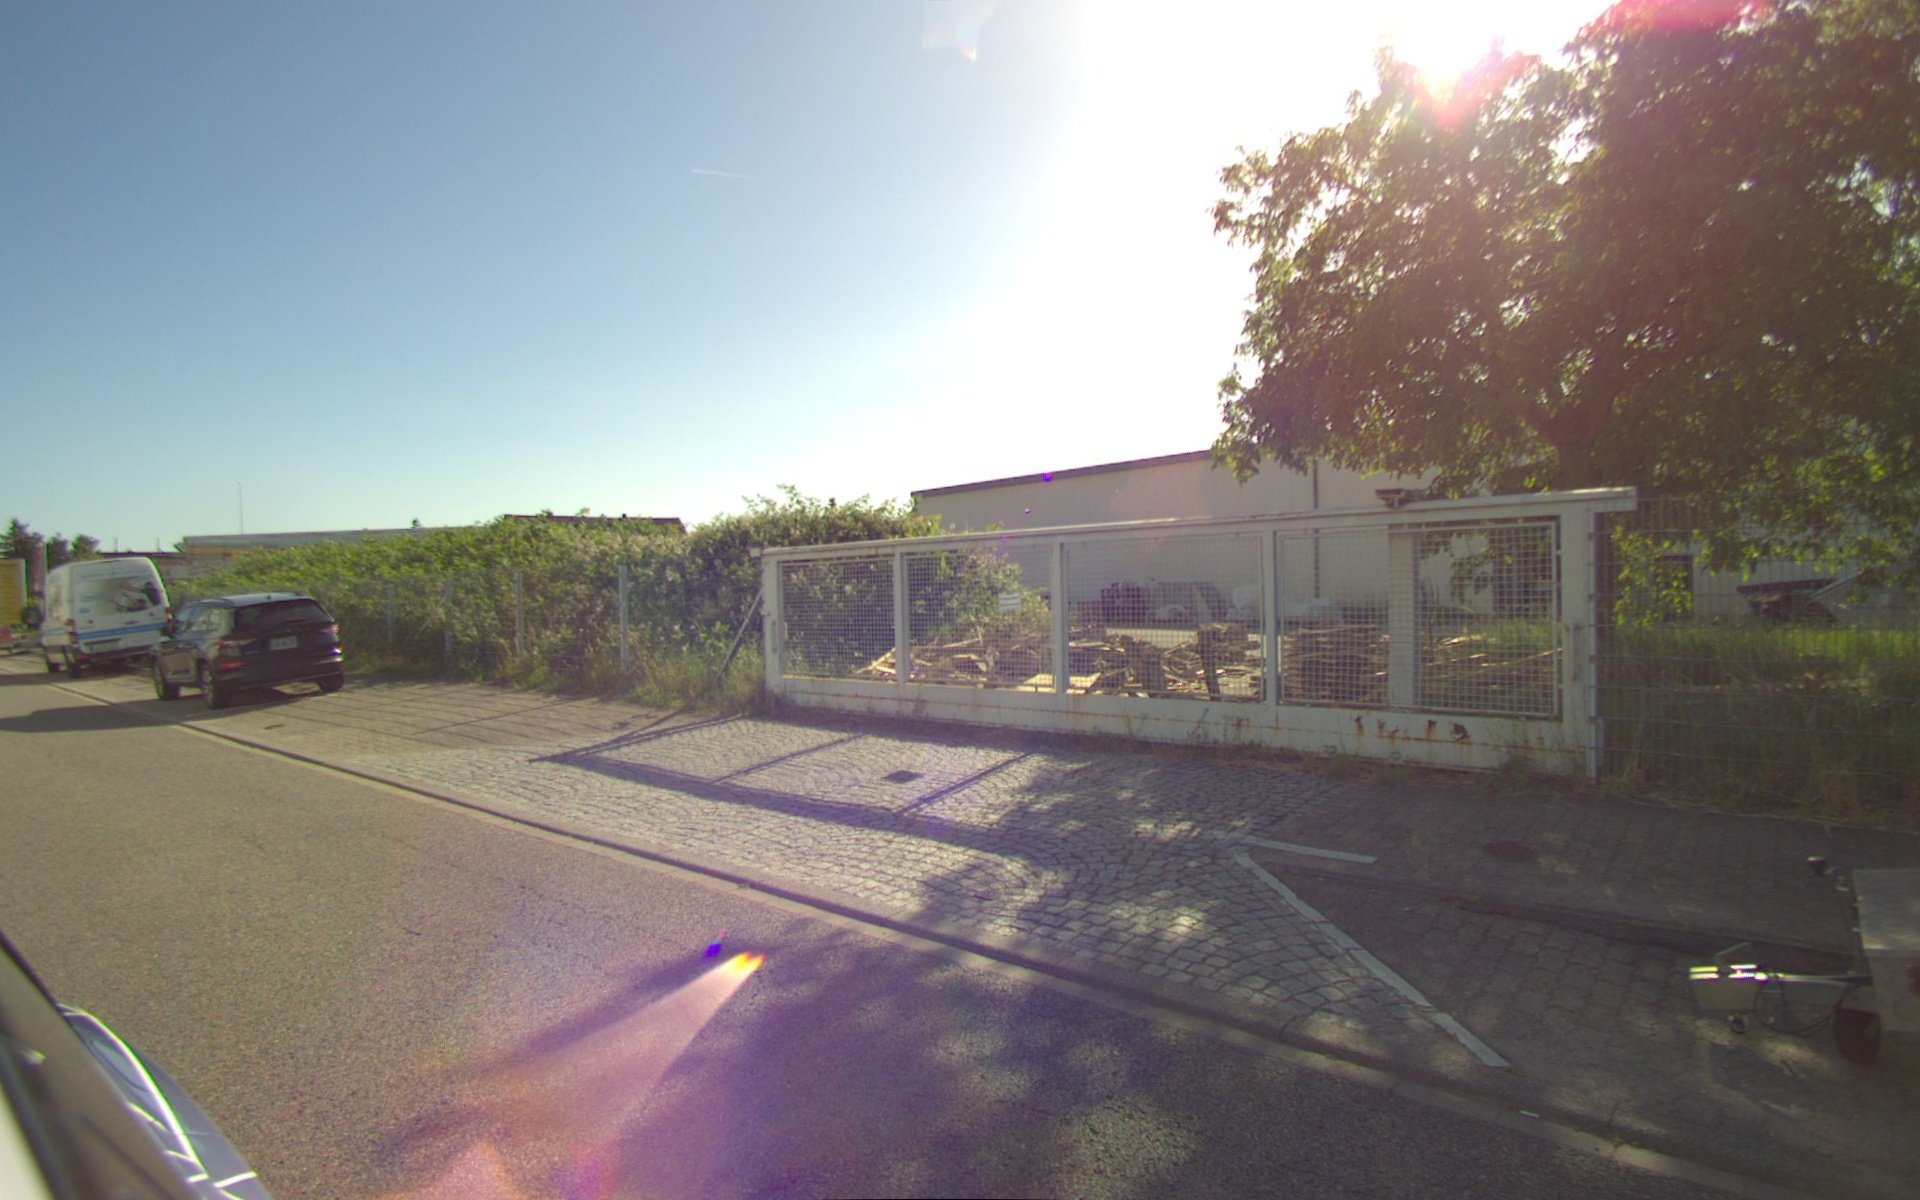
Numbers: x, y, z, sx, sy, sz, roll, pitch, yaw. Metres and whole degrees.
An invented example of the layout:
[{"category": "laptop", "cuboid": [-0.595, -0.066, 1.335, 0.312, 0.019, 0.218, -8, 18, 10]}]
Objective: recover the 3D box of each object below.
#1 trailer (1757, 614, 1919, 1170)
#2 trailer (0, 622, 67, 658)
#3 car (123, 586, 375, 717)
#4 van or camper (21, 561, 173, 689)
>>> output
[{"category": "trailer", "cuboid": [3.864, 0.749, 2.361, 3.077, 1.364, 1.461, -1, 2, 41]}, {"category": "trailer", "cuboid": [-35.600, 1.537, 37.893, 6.241, 1.088, 2.352, -2, 3, 41]}, {"category": "car", "cuboid": [-11.815, 0.766, 16.673, 5.102, 1.706, 2.011, -2, 4, 40]}, {"category": "van or camper", "cuboid": [-21.511, 0.582, 25.114, 5.947, 2.704, 1.946, -2, 5, 43]}]
